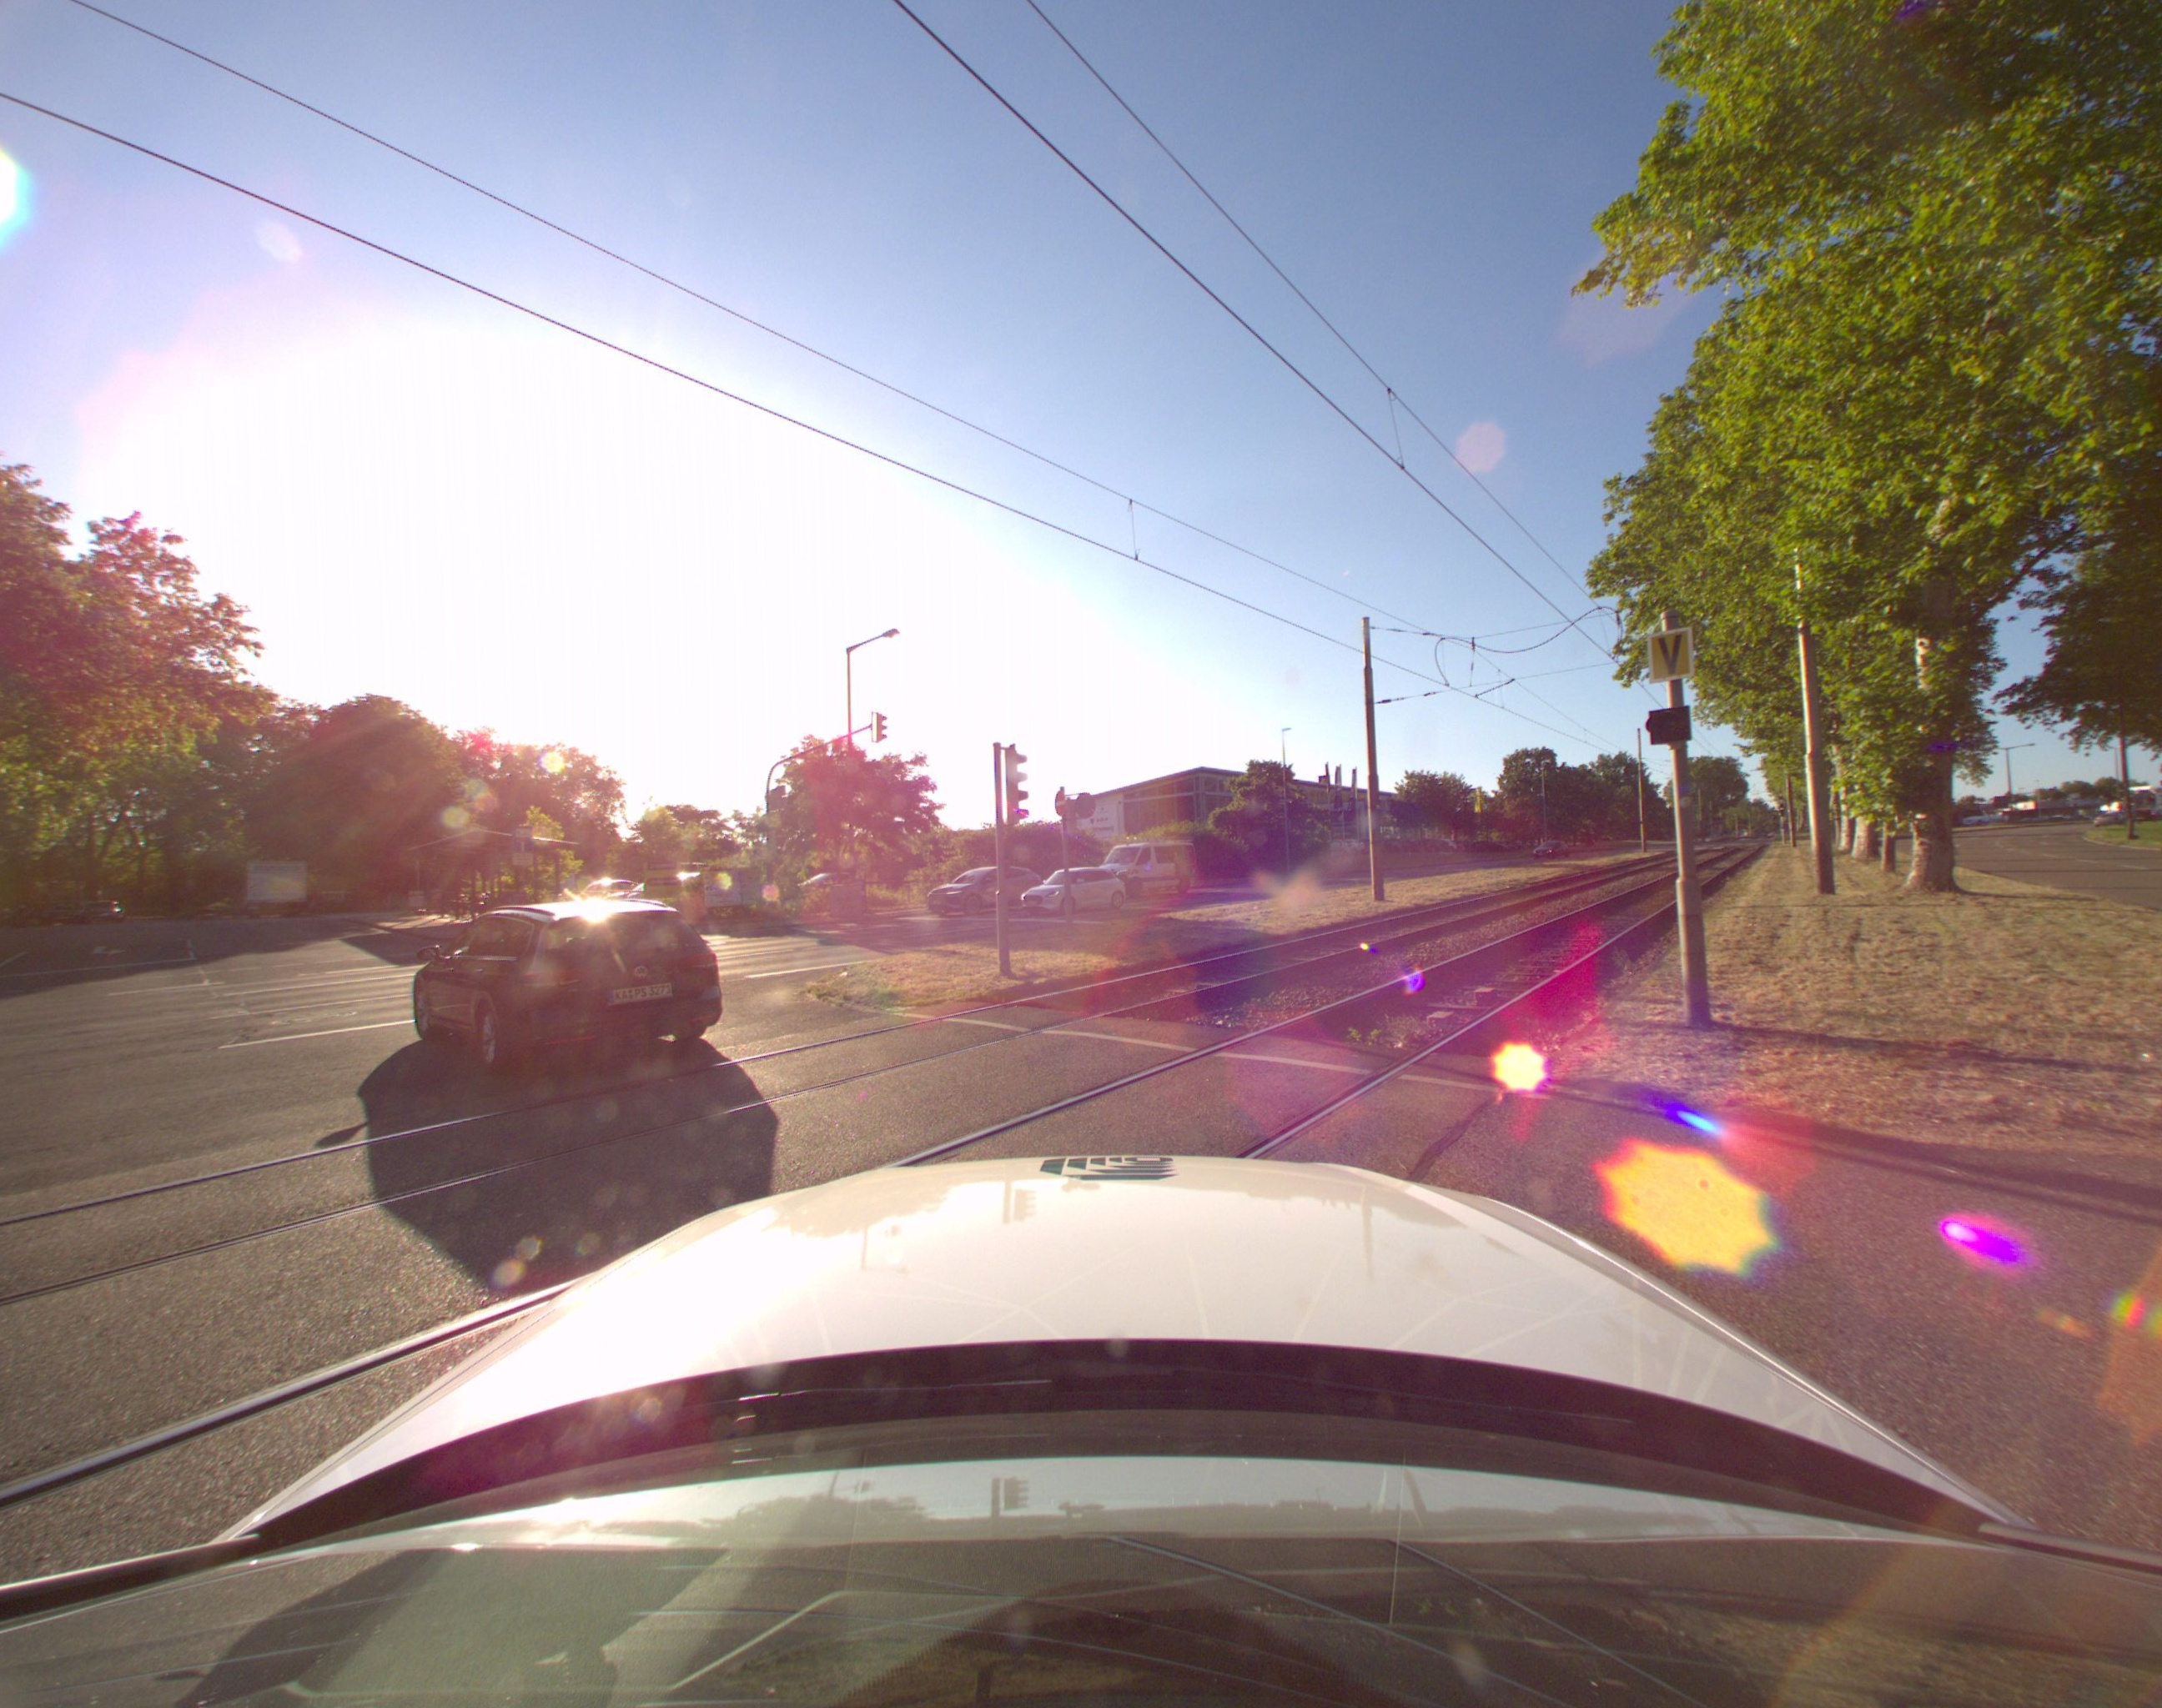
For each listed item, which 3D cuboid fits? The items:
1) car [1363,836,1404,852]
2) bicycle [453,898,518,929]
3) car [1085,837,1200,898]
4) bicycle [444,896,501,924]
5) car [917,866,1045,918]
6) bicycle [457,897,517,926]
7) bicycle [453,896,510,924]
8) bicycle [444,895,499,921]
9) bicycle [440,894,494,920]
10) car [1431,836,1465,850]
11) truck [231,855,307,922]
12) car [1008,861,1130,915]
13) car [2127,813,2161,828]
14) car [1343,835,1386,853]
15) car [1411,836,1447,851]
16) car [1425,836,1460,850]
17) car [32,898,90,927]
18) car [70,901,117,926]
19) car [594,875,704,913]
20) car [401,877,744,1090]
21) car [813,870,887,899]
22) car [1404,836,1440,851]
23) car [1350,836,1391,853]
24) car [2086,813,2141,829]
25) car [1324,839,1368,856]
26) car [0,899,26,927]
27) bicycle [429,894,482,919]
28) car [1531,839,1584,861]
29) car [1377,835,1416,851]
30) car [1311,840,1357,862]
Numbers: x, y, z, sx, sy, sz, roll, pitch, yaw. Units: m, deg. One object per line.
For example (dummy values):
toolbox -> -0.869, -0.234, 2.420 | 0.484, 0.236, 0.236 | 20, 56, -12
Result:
car -> 31.169, -1.031, 83.929 | 3.753, 1.567, 1.769 | -2, -1, 23
bicycle -> -22.521, 2.242, 30.825 | 0.537, 1.038, 1.905 | -3, -1, 43
car -> 2.929, 0.562, 37.336 | 1.984, 2.566, 5.912 | -2, -1, 42
bicycle -> -26.476, 2.426, 35.470 | 0.537, 1.038, 1.905 | -3, -1, 43
car -> -3.601, 1.337, 30.018 | 1.852, 1.618, 4.576 | -2, -1, 41
bicycle -> -24.300, 2.322, 33.332 | 0.537, 1.038, 1.905 | -3, -1, 43
bicycle -> -25.750, 2.398, 34.997 | 0.537, 1.038, 1.905 | -3, -1, 43
bicycle -> -27.390, 2.422, 36.598 | 1.904, 1.038, 0.537 | -2, -1, -44
bicycle -> -28.246, 2.420, 37.476 | 1.904, 1.038, 0.537 | -2, -1, -44
car -> 45.196, -1.334, 100.359 | 3.753, 1.567, 1.769 | -2, -1, 23
truck -> -53.233, 2.199, 53.428 | 10.960, 3.876, 3.214 | -2, -1, 45
car -> -0.329, 1.105, 27.641 | 1.852, 1.618, 4.025 | -2, -1, 42
car -> 112.640, -3.535, 86.092 | 4.013, 1.439, 1.980 | -2, -1, -31
car -> 27.708, -0.958, 79.605 | 3.753, 1.567, 1.769 | -2, -1, 23
car -> 40.931, -1.238, 95.862 | 3.753, 1.567, 1.769 | -2, -1, 23
car -> 43.502, -1.300, 98.106 | 3.753, 1.567, 1.769 | -2, -1, 23
car -> -61.548, 3.489, 49.202 | 3.949, 1.552, 1.863 | -2, -1, 43
car -> -69.824, 4.157, 57.626 | 3.949, 1.552, 1.863 | -2, -1, 43
car -> -21.546, 1.966, 40.723 | 2.093, 1.648, 4.347 | -2, -1, 41
car -> -5.327, 1.061, 8.287 | 4.204, 1.555, 1.842 | -2, -1, 42
car -> -14.698, 1.935, 51.930 | 4.020, 1.637, 2.096 | -1, -1, -39
car -> 39.214, -1.203, 93.609 | 3.753, 1.567, 1.769 | -2, -1, 23
car -> 29.224, -0.985, 82.097 | 3.753, 1.567, 1.769 | -2, -1, 23
car -> 102.902, -3.271, 81.171 | 3.996, 1.442, 1.989 | -2, 0, -17
car -> 25.001, -0.608, 76.753 | 3.753, 1.388, 1.769 | -2, -1, 23
car -> -64.802, 3.519, 48.570 | 3.949, 1.552, 1.863 | -2, -1, 43
bicycle -> -29.562, 2.455, 38.491 | 1.904, 1.038, 0.537 | -2, -1, -44
car -> 39.339, -0.342, 67.214 | 4.008, 1.684, 1.799 | -2, -1, -26
car -> 33.463, -1.143, 86.489 | 3.753, 1.567, 1.769 | -2, -1, 23
car -> 23.027, -0.253, 74.147 | 3.753, 1.860, 1.769 | -2, -1, 23
